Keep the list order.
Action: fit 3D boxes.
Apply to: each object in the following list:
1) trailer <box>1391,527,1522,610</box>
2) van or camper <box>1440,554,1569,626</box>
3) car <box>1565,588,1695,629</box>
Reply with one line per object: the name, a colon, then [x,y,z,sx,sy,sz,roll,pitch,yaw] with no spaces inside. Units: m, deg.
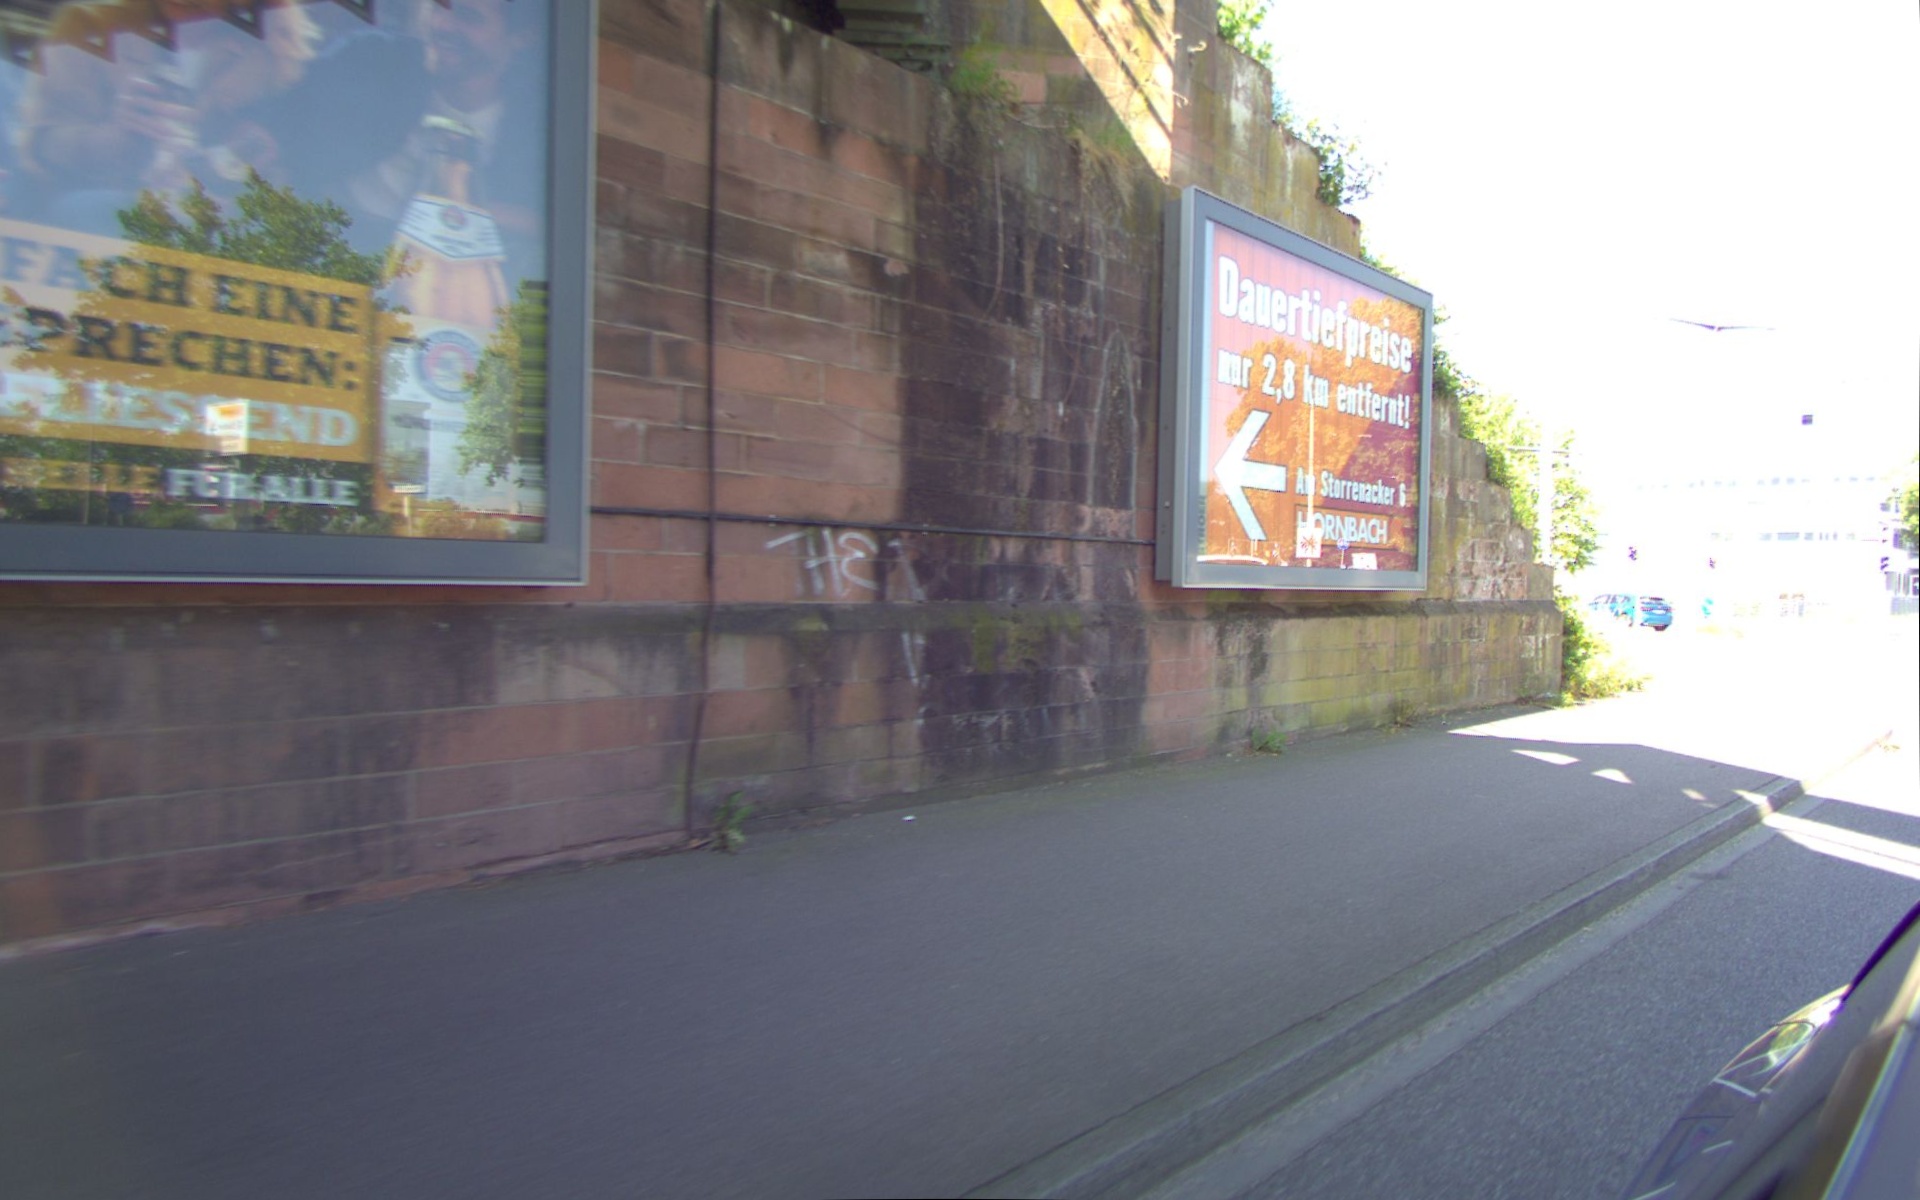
trailer: [27.570,-1.587,56.645,2.882,4.280,7.807,0,-1,-5]
van or camper: [21.239,-0.334,39.793,1.960,2.618,5.150,0,-1,-5]
car: [26.648,0.287,40.458,1.959,1.450,4.204,1,2,-9]
